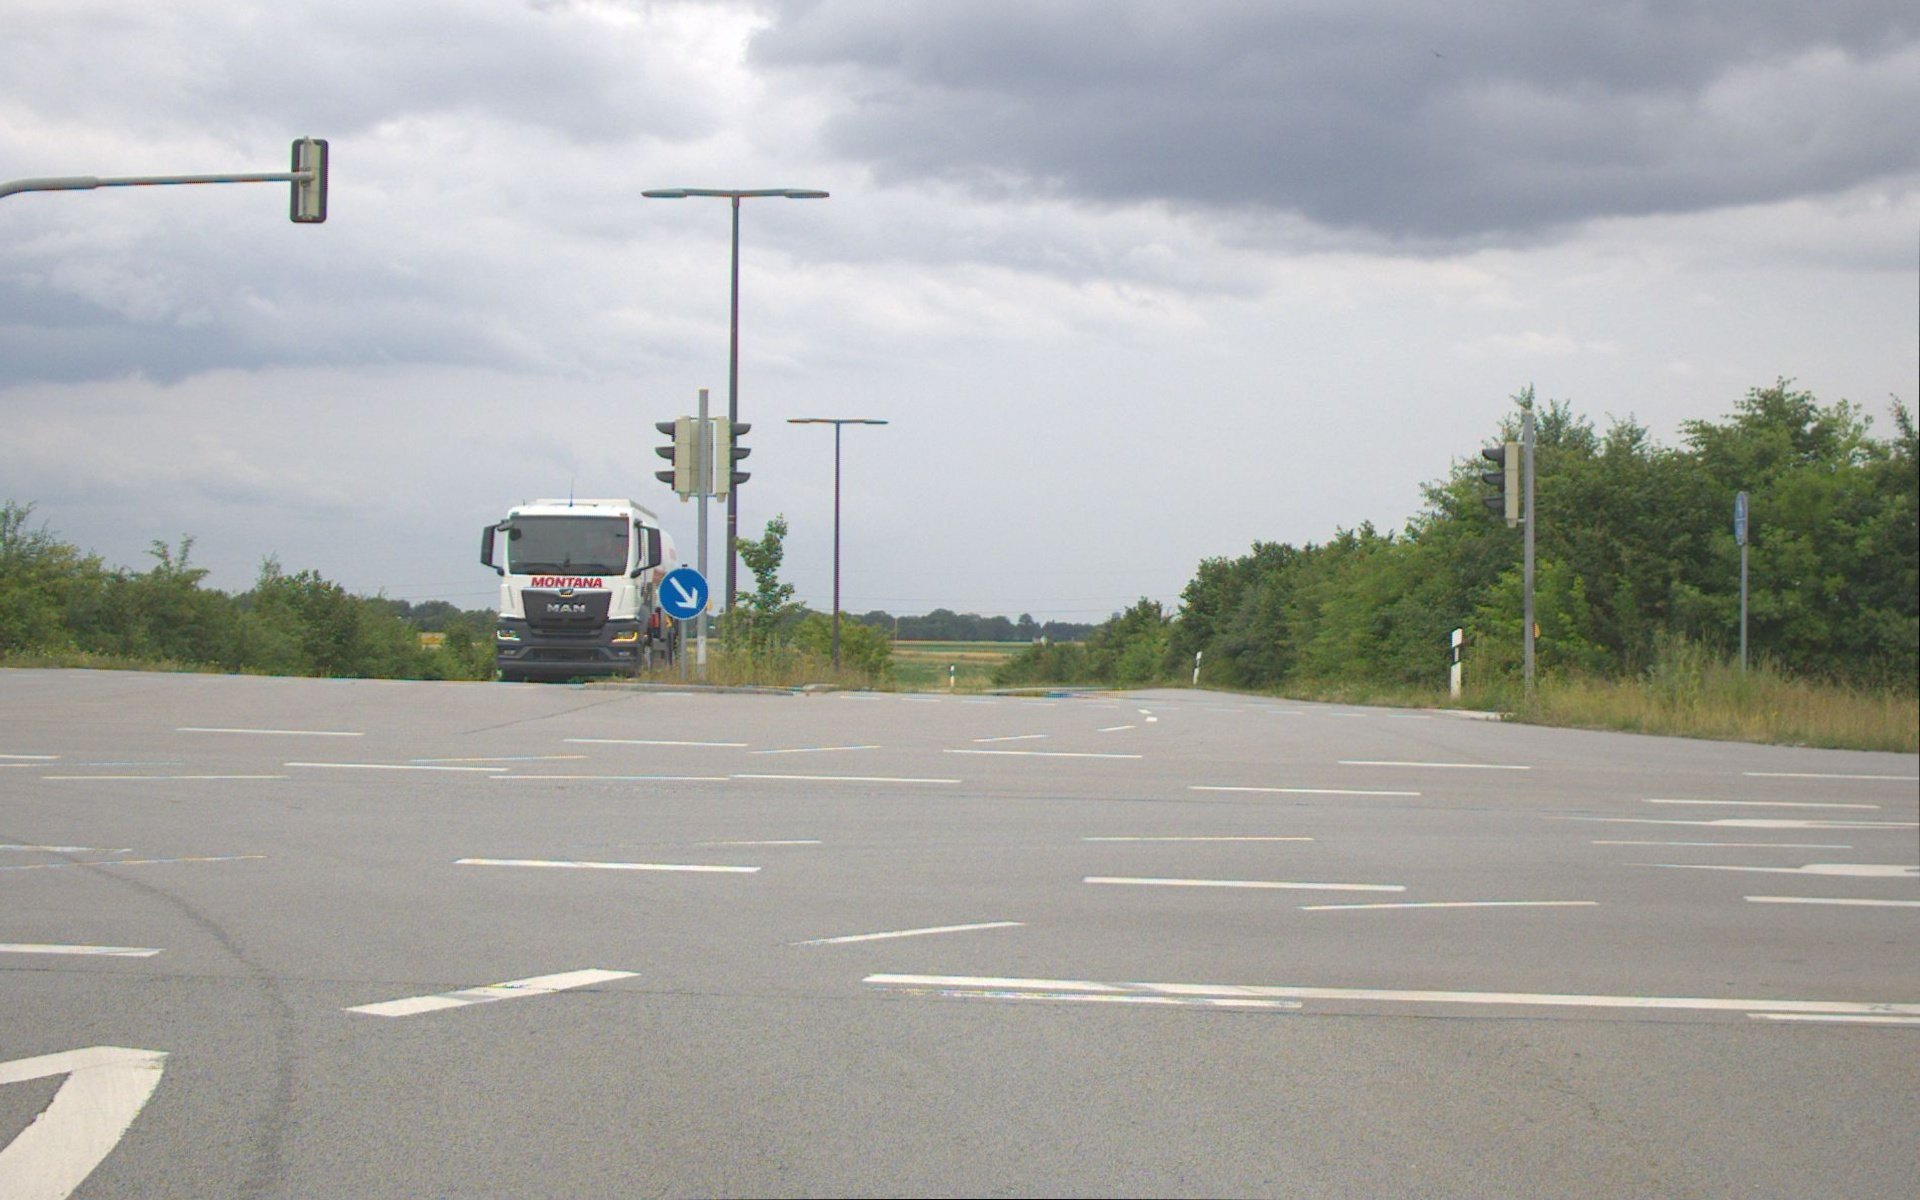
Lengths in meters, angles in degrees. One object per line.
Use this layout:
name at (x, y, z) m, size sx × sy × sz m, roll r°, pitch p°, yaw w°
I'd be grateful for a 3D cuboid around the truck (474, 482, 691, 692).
truck at (-6.462, -0.129, 60.098) m, size 2.869 × 3.397 × 8.650 m, roll 0°, pitch -1°, yaw 0°
